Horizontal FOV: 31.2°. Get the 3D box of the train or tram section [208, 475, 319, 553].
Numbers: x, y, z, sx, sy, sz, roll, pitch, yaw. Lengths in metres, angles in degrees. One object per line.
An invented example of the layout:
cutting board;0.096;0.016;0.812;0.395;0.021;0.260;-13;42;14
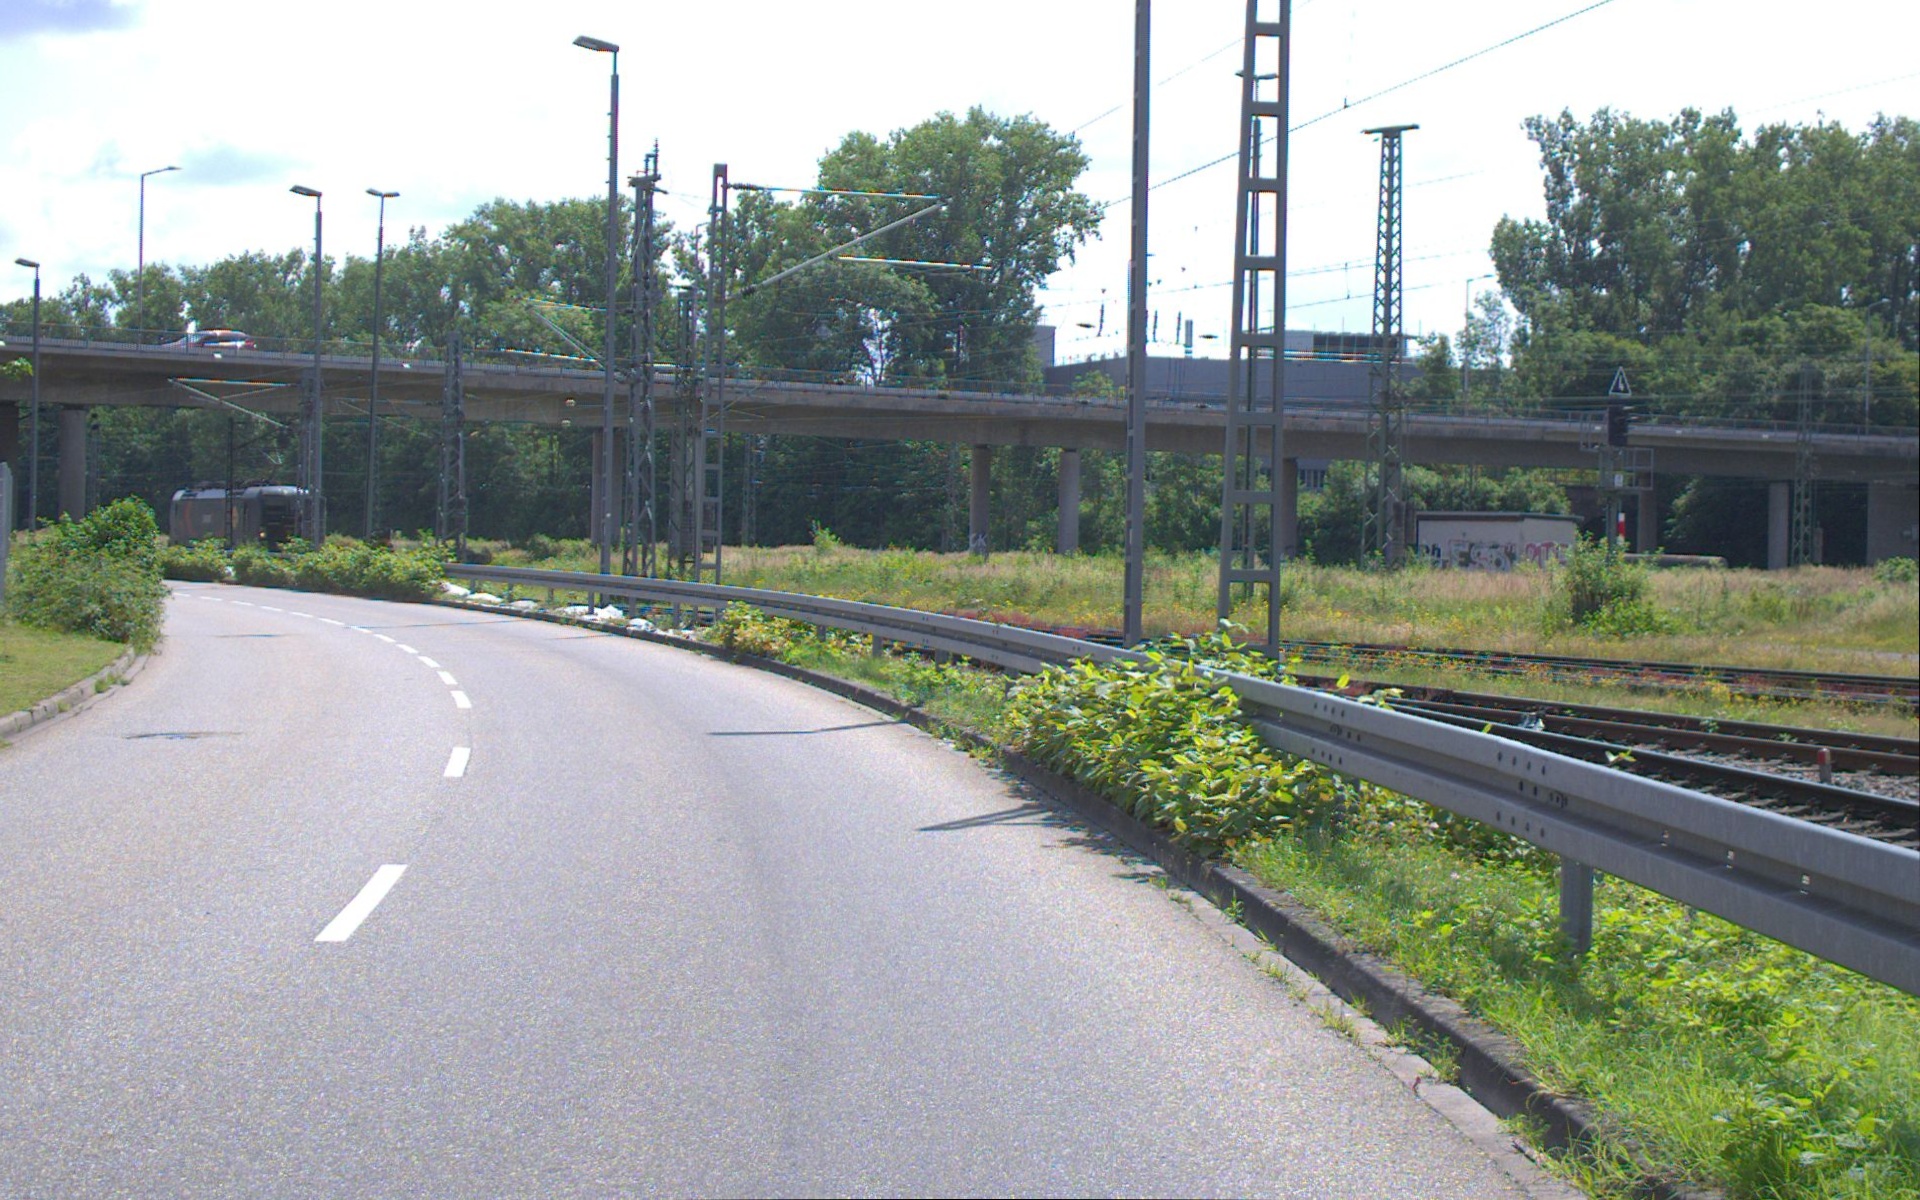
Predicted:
train or tram section;-32.285;-3.939;159.111;2.890;3.497;8.567;0;1;-27
